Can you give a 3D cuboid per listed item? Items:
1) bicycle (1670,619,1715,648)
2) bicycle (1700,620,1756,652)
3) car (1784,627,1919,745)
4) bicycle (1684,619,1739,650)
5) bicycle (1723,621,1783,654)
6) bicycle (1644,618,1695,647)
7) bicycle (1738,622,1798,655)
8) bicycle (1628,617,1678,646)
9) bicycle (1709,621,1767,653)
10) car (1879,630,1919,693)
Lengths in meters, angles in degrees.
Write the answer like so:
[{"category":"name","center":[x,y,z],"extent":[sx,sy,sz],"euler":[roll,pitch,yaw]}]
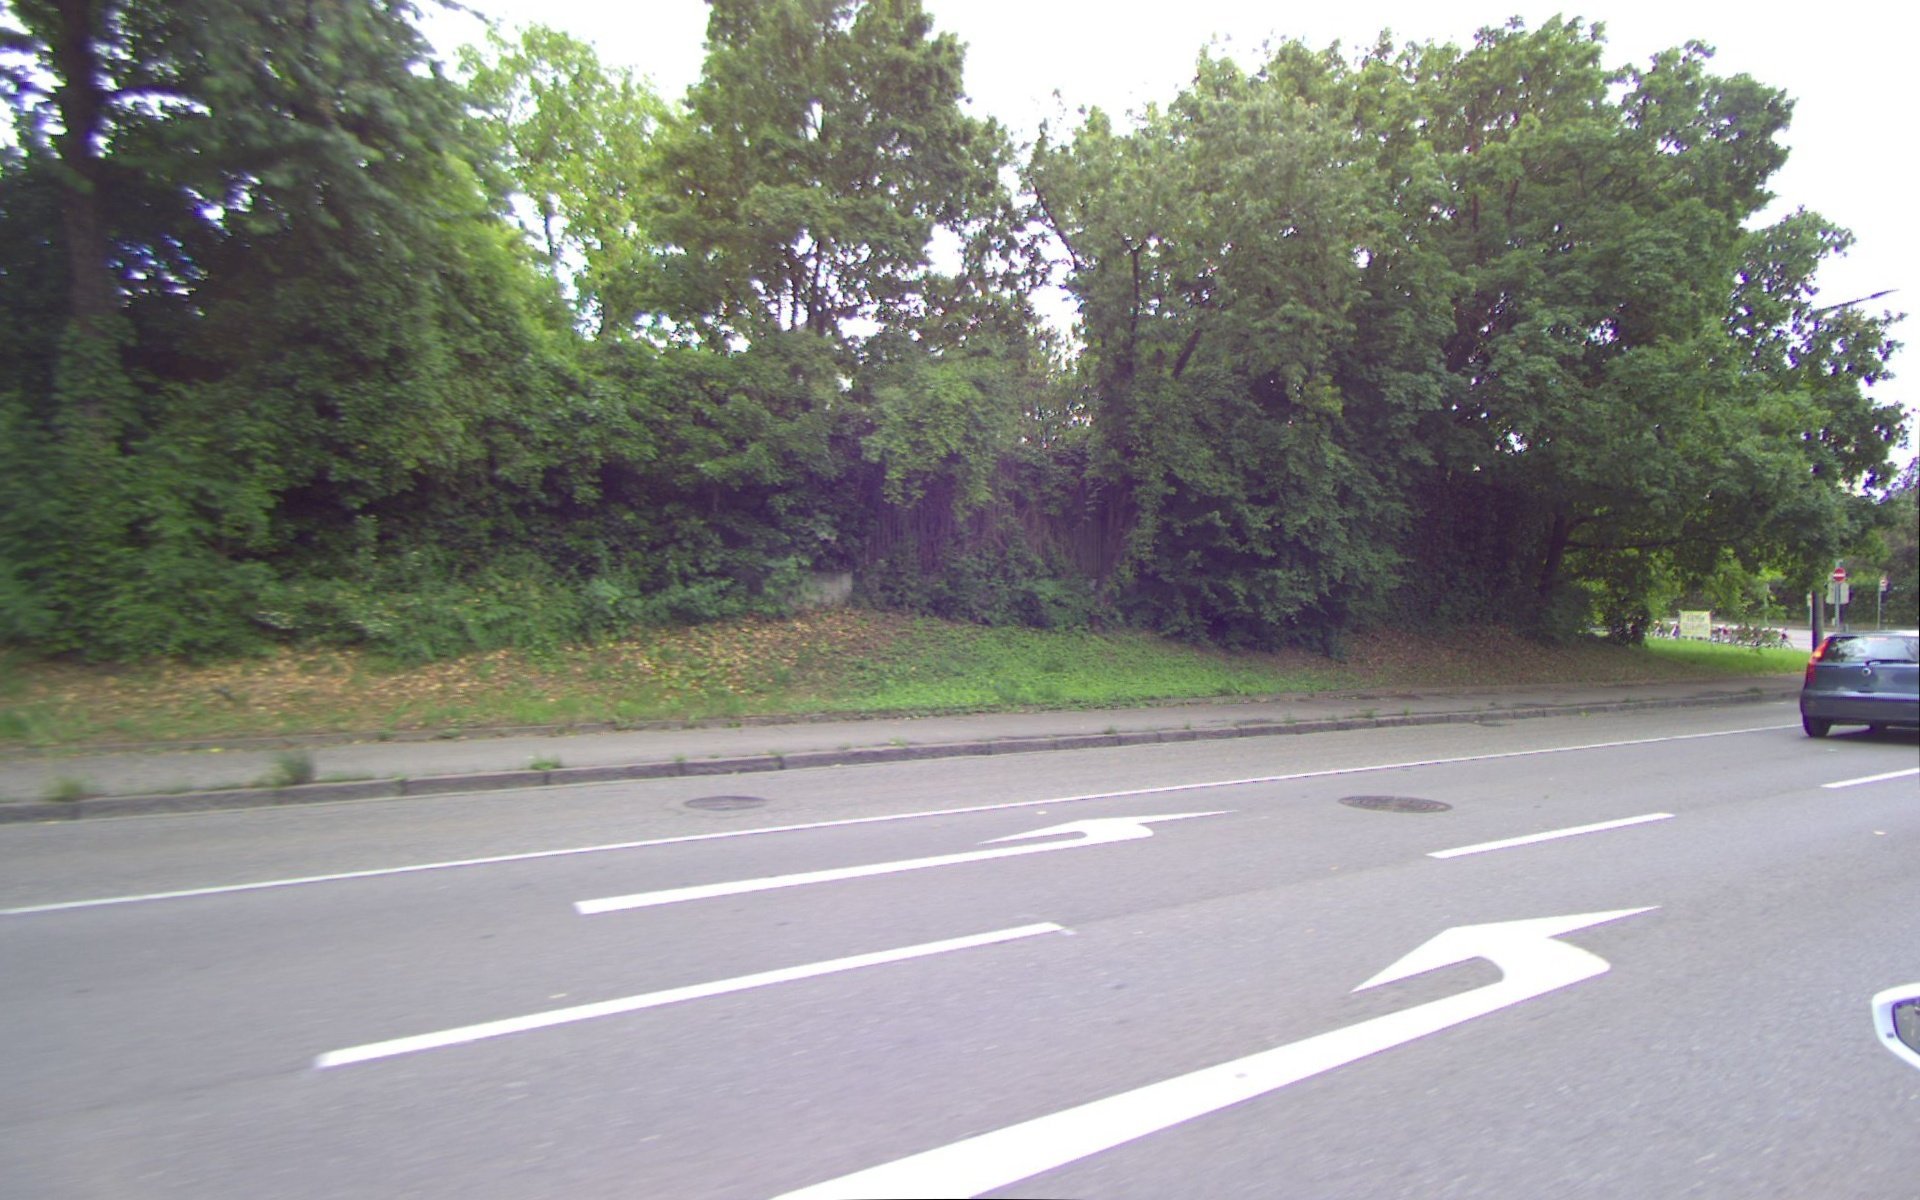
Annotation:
[{"category":"bicycle","center":[33.224,1.522,45.565],"extent":[1.903,1.269,0.544],"euler":[2,1,-14]},{"category":"bicycle","center":[33.364,1.555,43.651],"extent":[1.896,1.269,0.546],"euler":[2,1,7]},{"category":"car","center":[13.483,1.133,14.170],"extent":[3.881,1.487,1.585],"euler":[1,-2,-30]},{"category":"bicycle","center":[33.349,1.541,44.580],"extent":[1.896,1.269,0.546],"euler":[2,1,7]},{"category":"bicycle","center":[33.169,1.570,42.030],"extent":[1.896,1.269,0.546],"euler":[2,1,7]},{"category":"bicycle","center":[33.073,1.499,46.824],"extent":[1.897,1.269,0.546],"euler":[2,1,2]},{"category":"bicycle","center":[33.236,1.583,41.328],"extent":[1.896,1.269,0.546],"euler":[2,1,7]},{"category":"bicycle","center":[32.939,1.480,47.760],"extent":[1.897,1.269,0.546],"euler":[2,1,2]},{"category":"bicycle","center":[33.111,1.558,42.773],"extent":[1.896,1.269,0.546],"euler":[2,1,7]},{"category":"car","center":[23.448,1.445,23.702],"extent":[3.790,1.414,1.621],"euler":[1,0,-32]}]
